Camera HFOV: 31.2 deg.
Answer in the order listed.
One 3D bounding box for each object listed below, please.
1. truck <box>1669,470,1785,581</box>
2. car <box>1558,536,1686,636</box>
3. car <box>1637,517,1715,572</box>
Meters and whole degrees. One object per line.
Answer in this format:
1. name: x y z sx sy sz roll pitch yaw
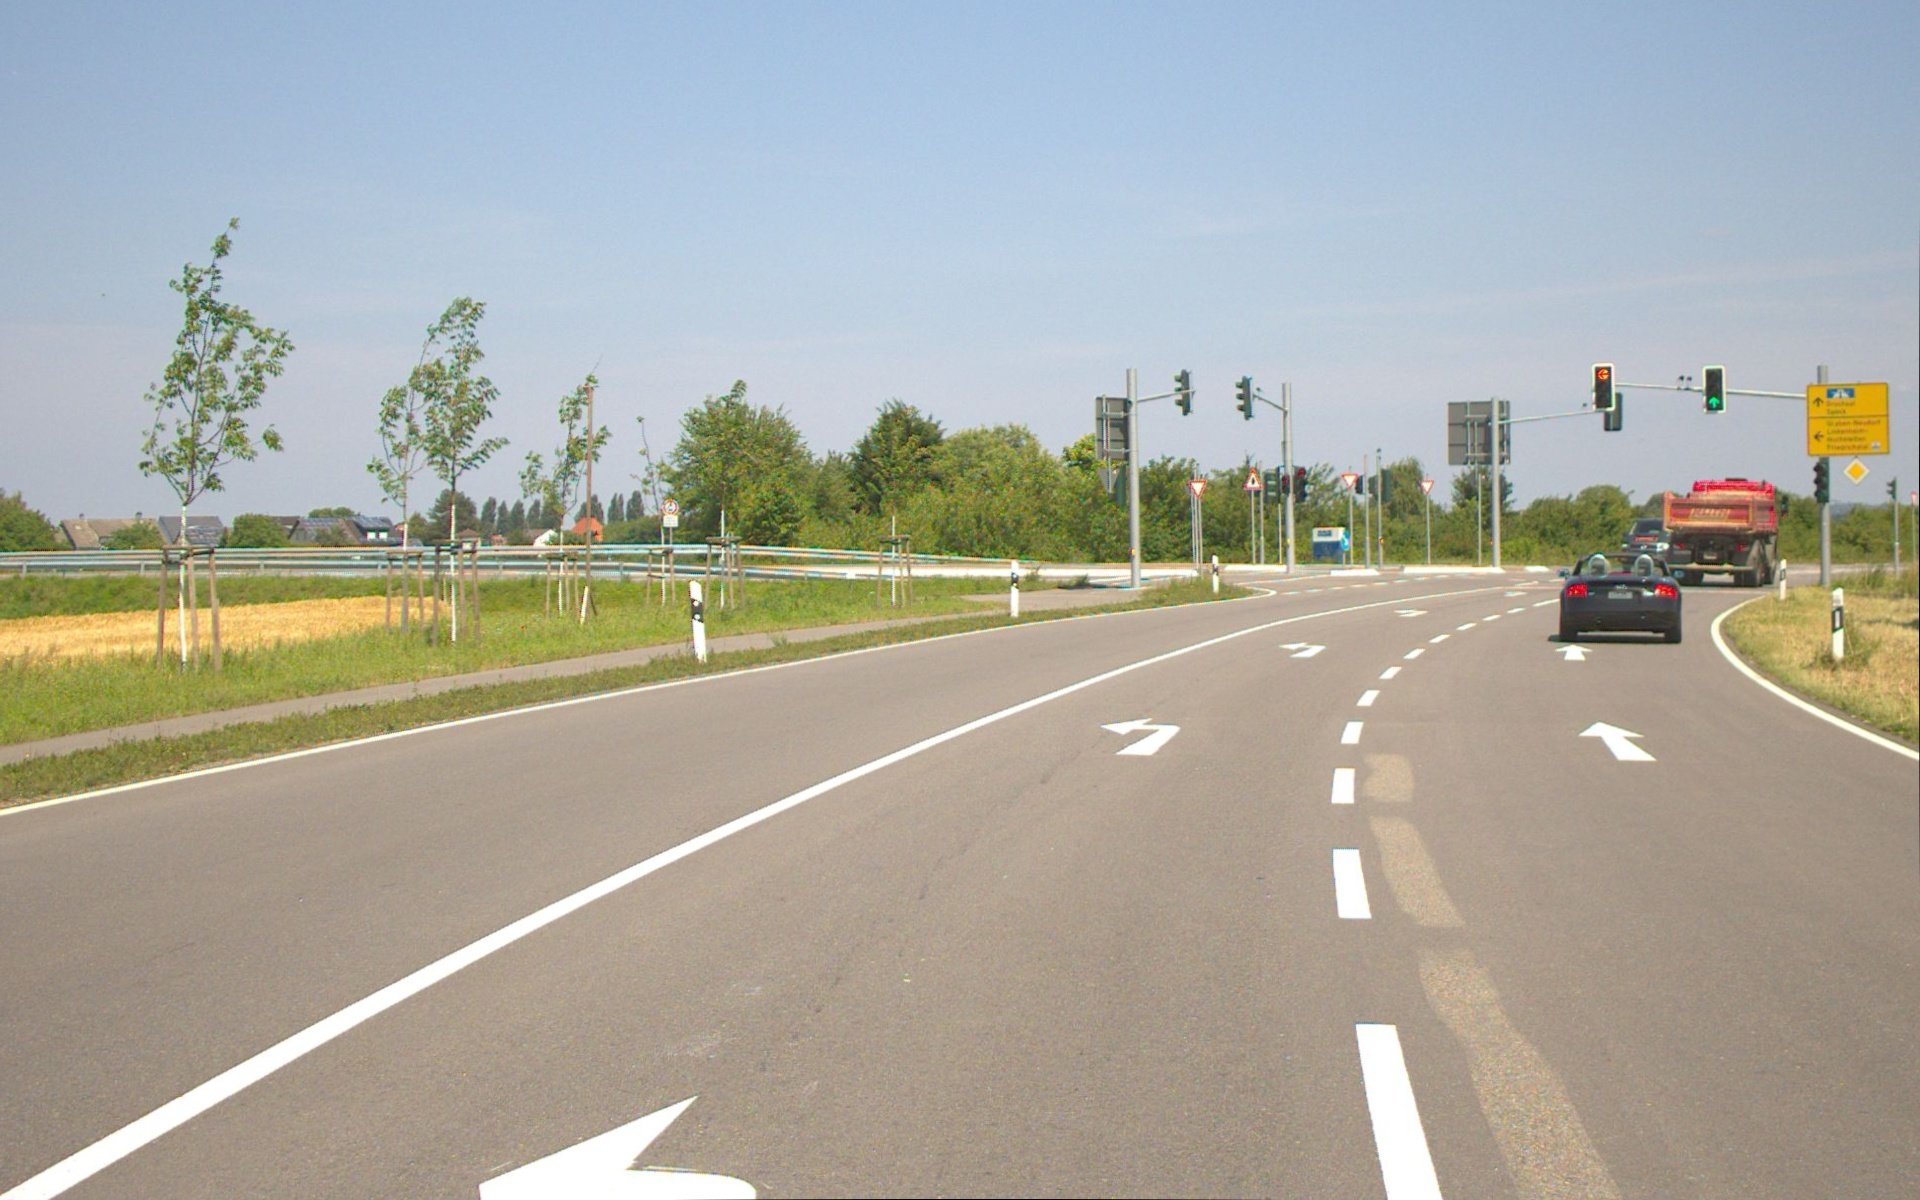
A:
1. truck: 22.219 -2.082 99.294 2.716 3.042 8.158 0 0 16
2. car: 9.726 -0.193 50.418 1.748 1.371 3.677 1 0 12
3. car: 26.470 -2.071 126.969 1.933 1.971 4.678 1 1 23
